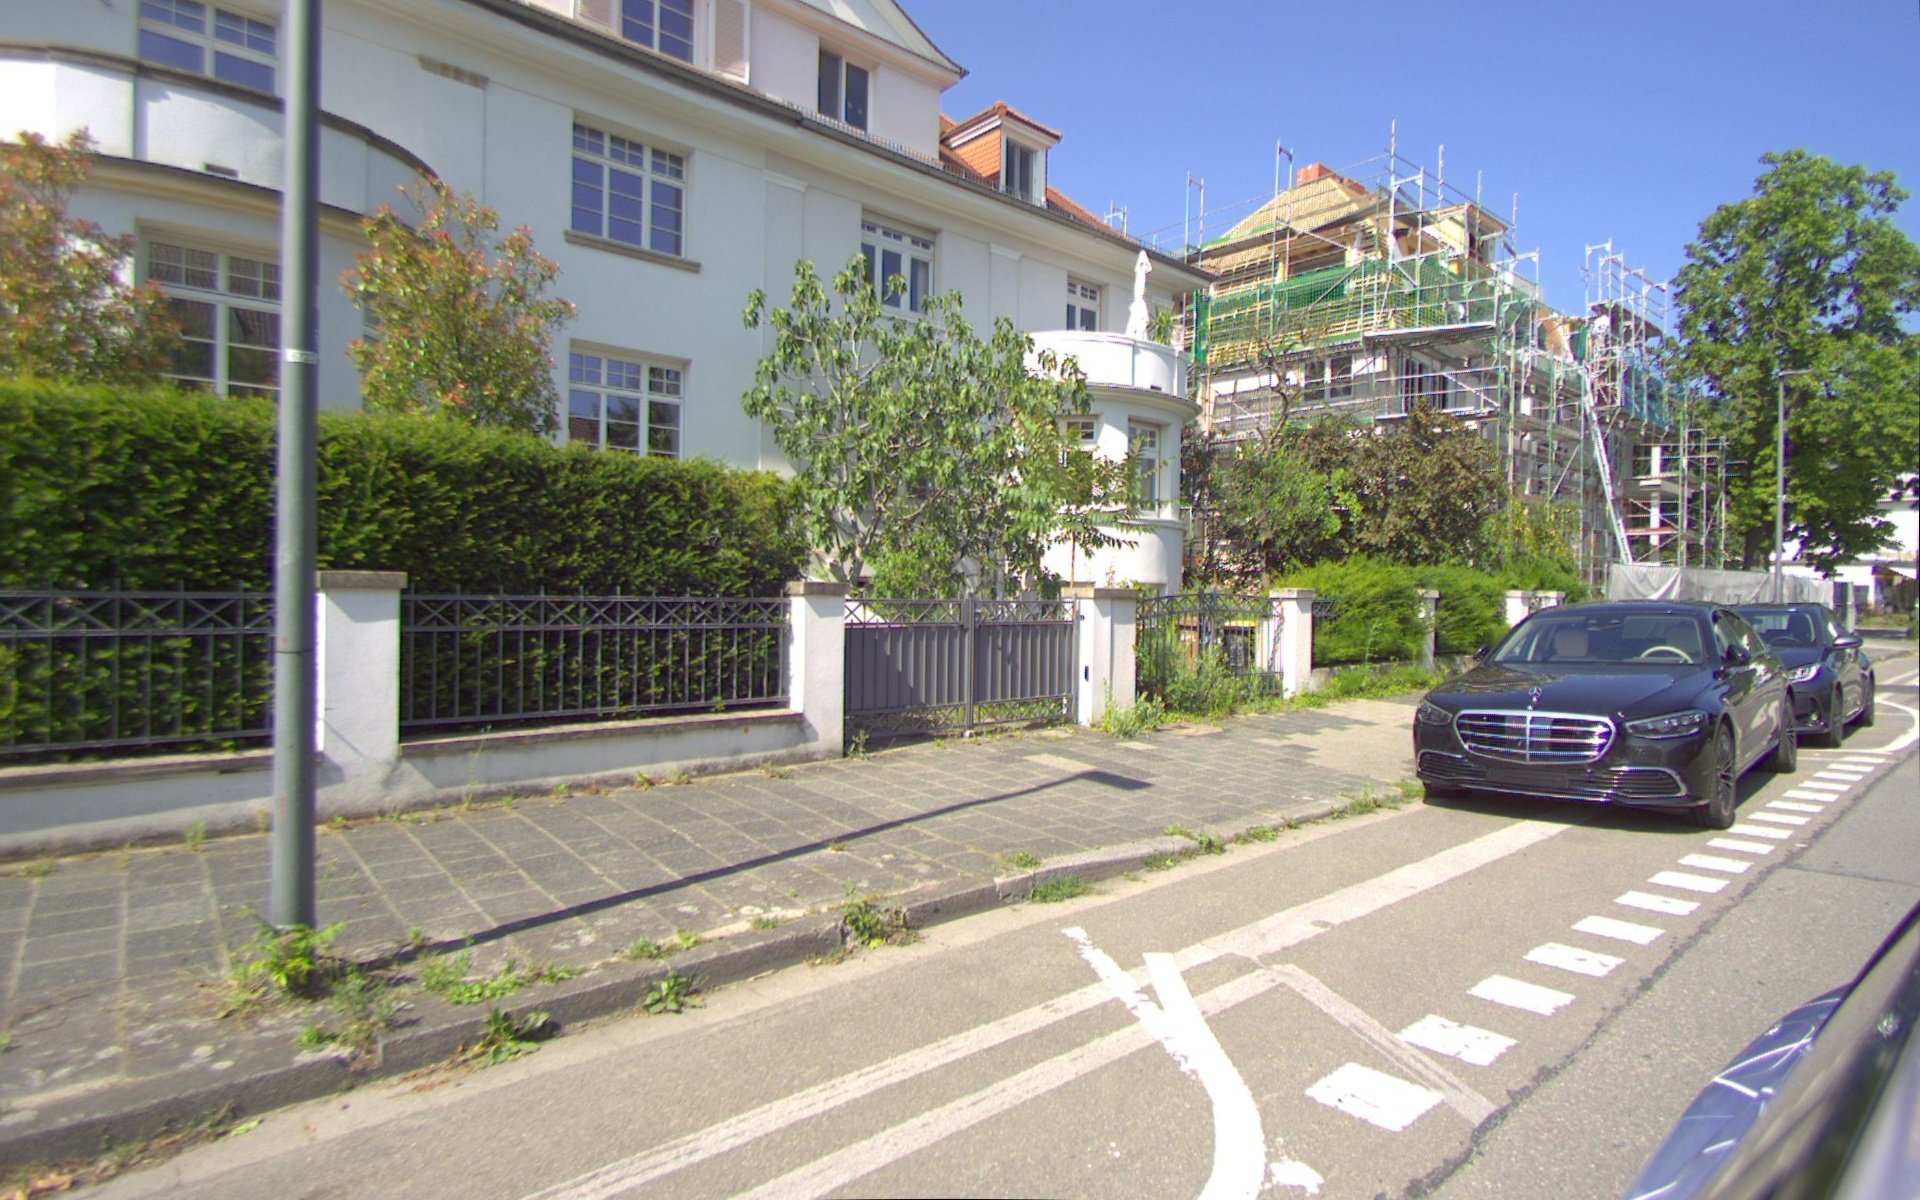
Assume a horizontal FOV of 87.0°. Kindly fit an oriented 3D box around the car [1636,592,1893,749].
[{"bbox_3d":[9.245,0.683,11.539,3.722,1.494,1.659,0,-1,-42],"label":"car"}]

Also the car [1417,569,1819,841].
[{"bbox_3d":[5.594,0.630,8.286,4.820,1.603,1.697,0,-1,-44],"label":"car"}]

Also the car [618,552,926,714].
[{"bbox_3d":[-2.404,0.374,12.157,1.673,1.603,4.166,0,-1,-43],"label":"car"}]
